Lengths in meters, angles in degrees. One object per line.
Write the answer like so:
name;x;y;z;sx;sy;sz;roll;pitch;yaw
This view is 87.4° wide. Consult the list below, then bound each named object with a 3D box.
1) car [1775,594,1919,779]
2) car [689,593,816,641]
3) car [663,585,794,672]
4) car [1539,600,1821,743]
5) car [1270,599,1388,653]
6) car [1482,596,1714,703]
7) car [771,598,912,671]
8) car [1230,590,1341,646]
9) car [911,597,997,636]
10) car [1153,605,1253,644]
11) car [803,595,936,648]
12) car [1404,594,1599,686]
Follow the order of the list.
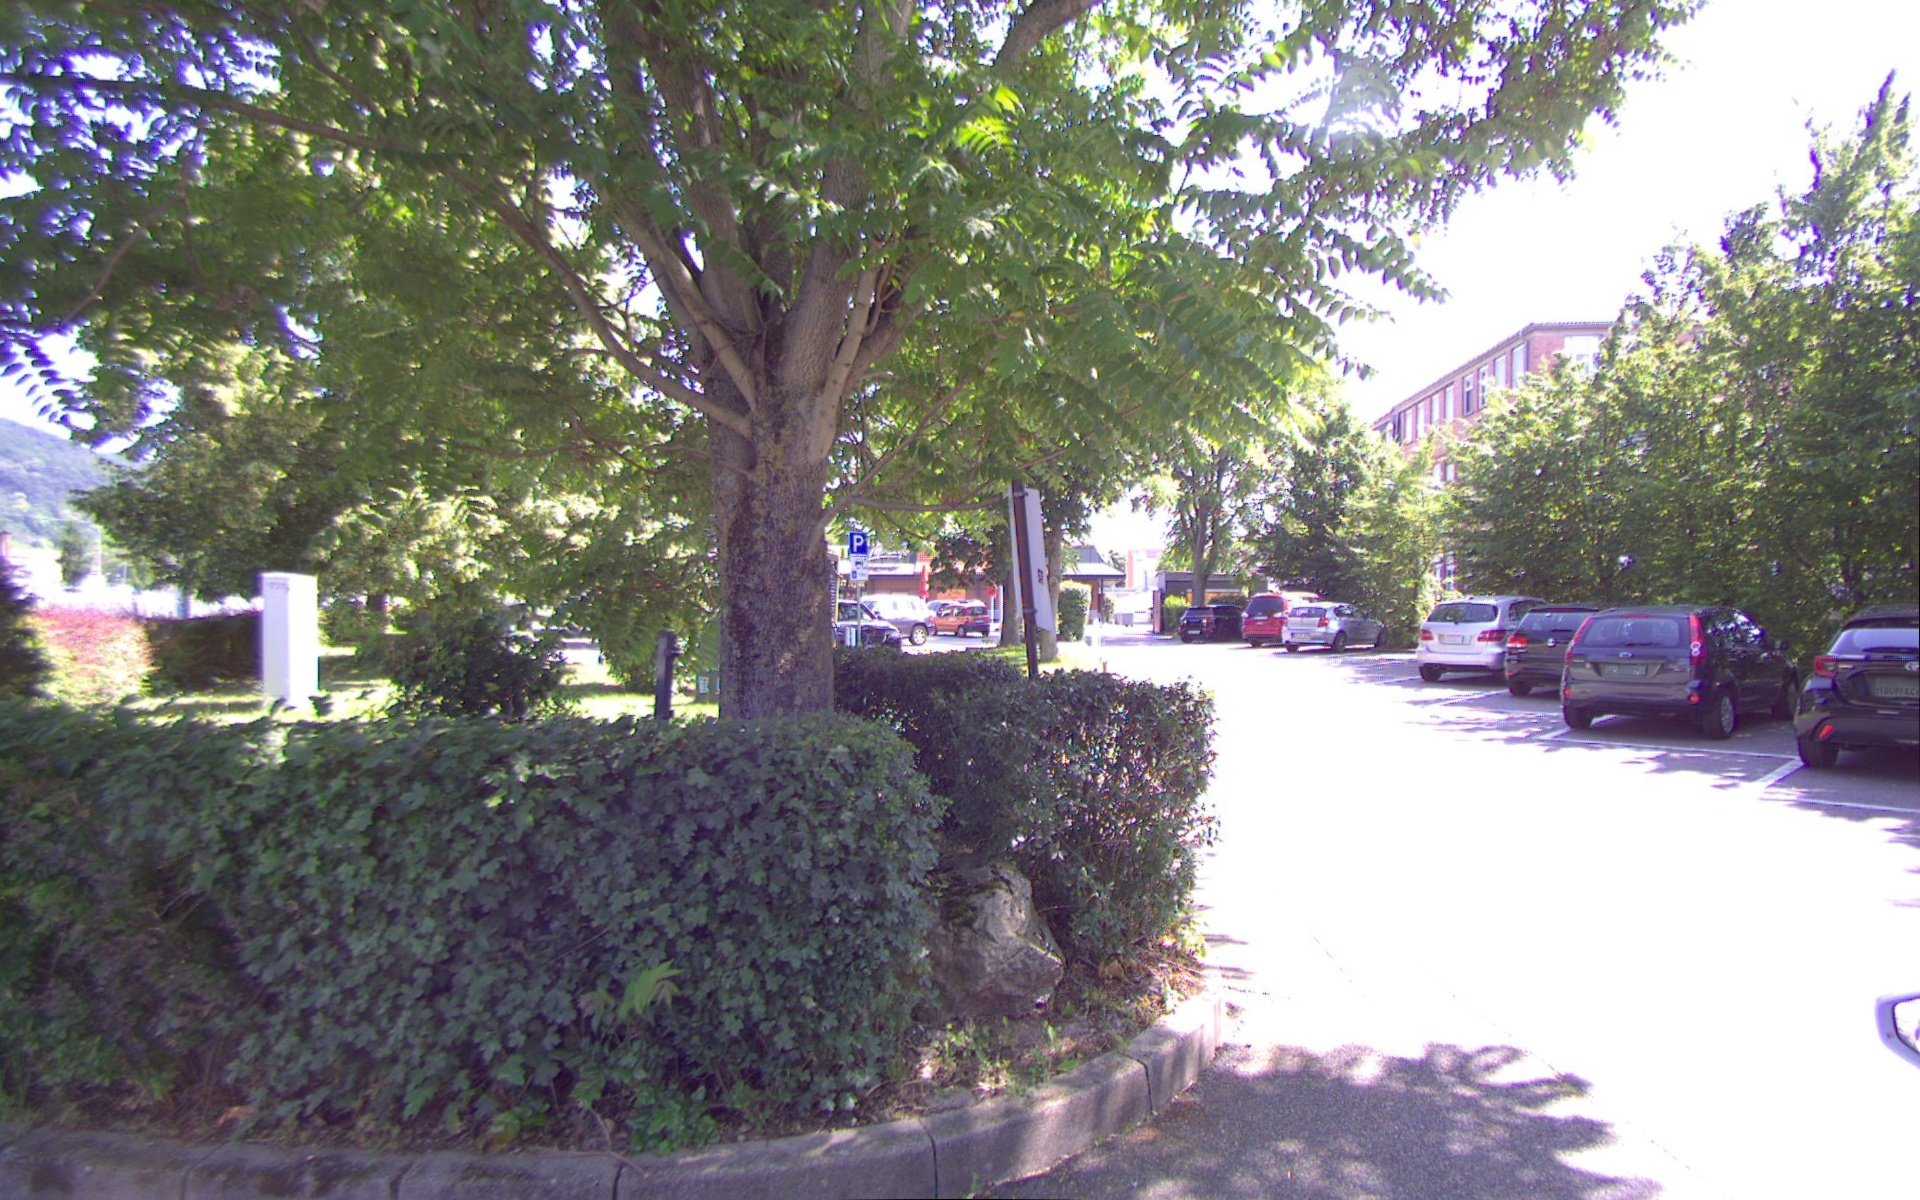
car;9.409;0.710;9.659;3.870;1.489;1.643;-1;0;-39
car;-7.678;0.609;37.368;4.278;1.708;1.840;1;0;-41
car;-5.237;0.595;22.311;1.838;1.708;4.338;2;-1;-26
car;9.072;0.775;12.565;3.960;1.472;1.688;-1;0;-36
car;11.154;0.737;30.241;3.971;1.495;1.752;-1;0;-43
car;10.501;0.725;16.460;3.957;1.489;1.758;-1;0;-34
car;-2.814;0.733;22.993;1.838;1.472;4.338;2;-1;-26
car;10.986;0.590;33.774;3.969;1.757;1.753;-1;-1;-42
car;-0.351;0.765;47.961;1.845;1.708;4.319;-2;2;-38
car;9.251;0.895;38.123;3.969;1.407;1.753;0;-1;-41
car;-3.055;0.697;34.471;4.334;1.708;1.839;1;0;-42
car;10.551;0.699;19.482;3.960;1.593;1.757;-1;0;-35
